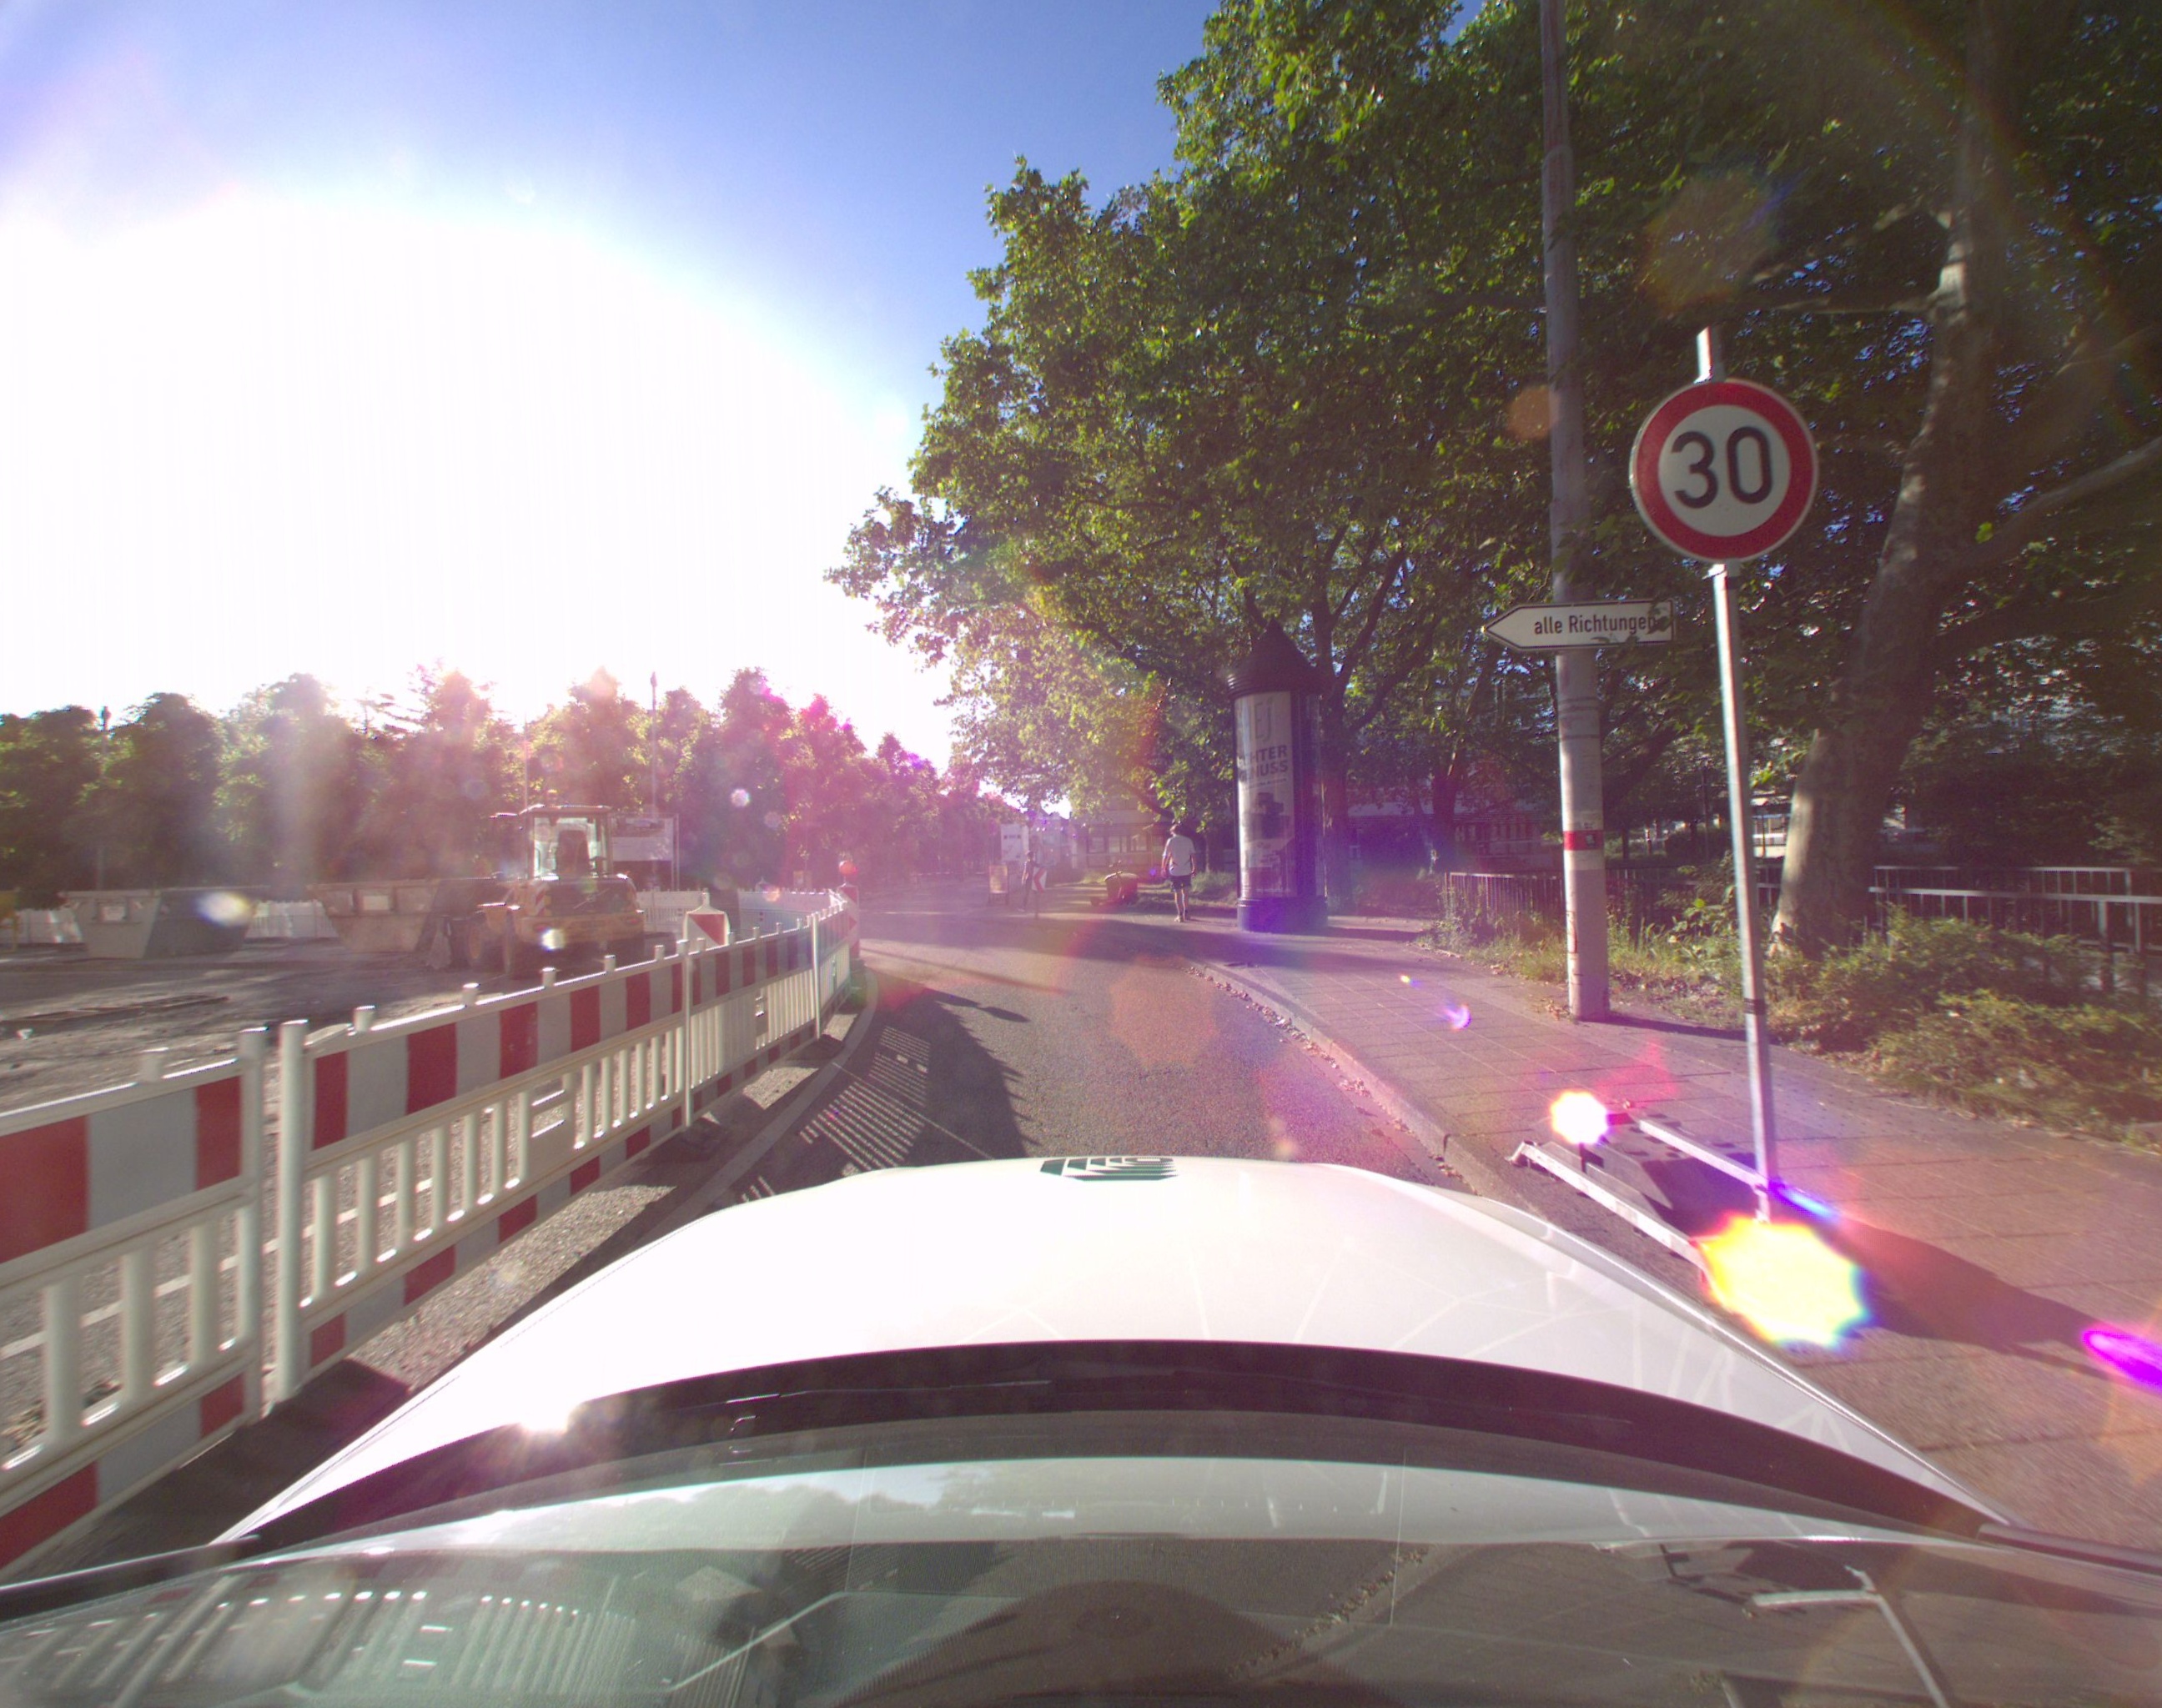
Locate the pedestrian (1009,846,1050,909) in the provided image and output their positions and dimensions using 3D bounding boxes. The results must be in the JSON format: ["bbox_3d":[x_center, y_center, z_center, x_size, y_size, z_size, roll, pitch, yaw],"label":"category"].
[{"bbox_3d":[-1.367,0.621,21.603,0.713,1.623,0.930,-1,-1,-30],"label":"pedestrian"}]

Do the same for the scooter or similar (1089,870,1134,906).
[{"bbox_3d":[0.851,0.950,22.684,1.145,0.914,0.418,-3,-2,-7],"label":"scooter or similar"}]

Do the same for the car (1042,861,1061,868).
[{"bbox_3d":[-7.577,2.784,209.491,4.543,1.791,1.999,-1,0,-1],"label":"car"}]

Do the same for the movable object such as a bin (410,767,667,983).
[{"bbox_3d":[-9.778,0.359,14.404,5.857,3.031,2.582,-3,-1,45],"label":"movable object such as a bin"}]

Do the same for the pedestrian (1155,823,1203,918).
[{"bbox_3d":[1.934,0.320,16.203,0.743,1.813,1.132,0,-1,-4],"label":"pedestrian"}]
